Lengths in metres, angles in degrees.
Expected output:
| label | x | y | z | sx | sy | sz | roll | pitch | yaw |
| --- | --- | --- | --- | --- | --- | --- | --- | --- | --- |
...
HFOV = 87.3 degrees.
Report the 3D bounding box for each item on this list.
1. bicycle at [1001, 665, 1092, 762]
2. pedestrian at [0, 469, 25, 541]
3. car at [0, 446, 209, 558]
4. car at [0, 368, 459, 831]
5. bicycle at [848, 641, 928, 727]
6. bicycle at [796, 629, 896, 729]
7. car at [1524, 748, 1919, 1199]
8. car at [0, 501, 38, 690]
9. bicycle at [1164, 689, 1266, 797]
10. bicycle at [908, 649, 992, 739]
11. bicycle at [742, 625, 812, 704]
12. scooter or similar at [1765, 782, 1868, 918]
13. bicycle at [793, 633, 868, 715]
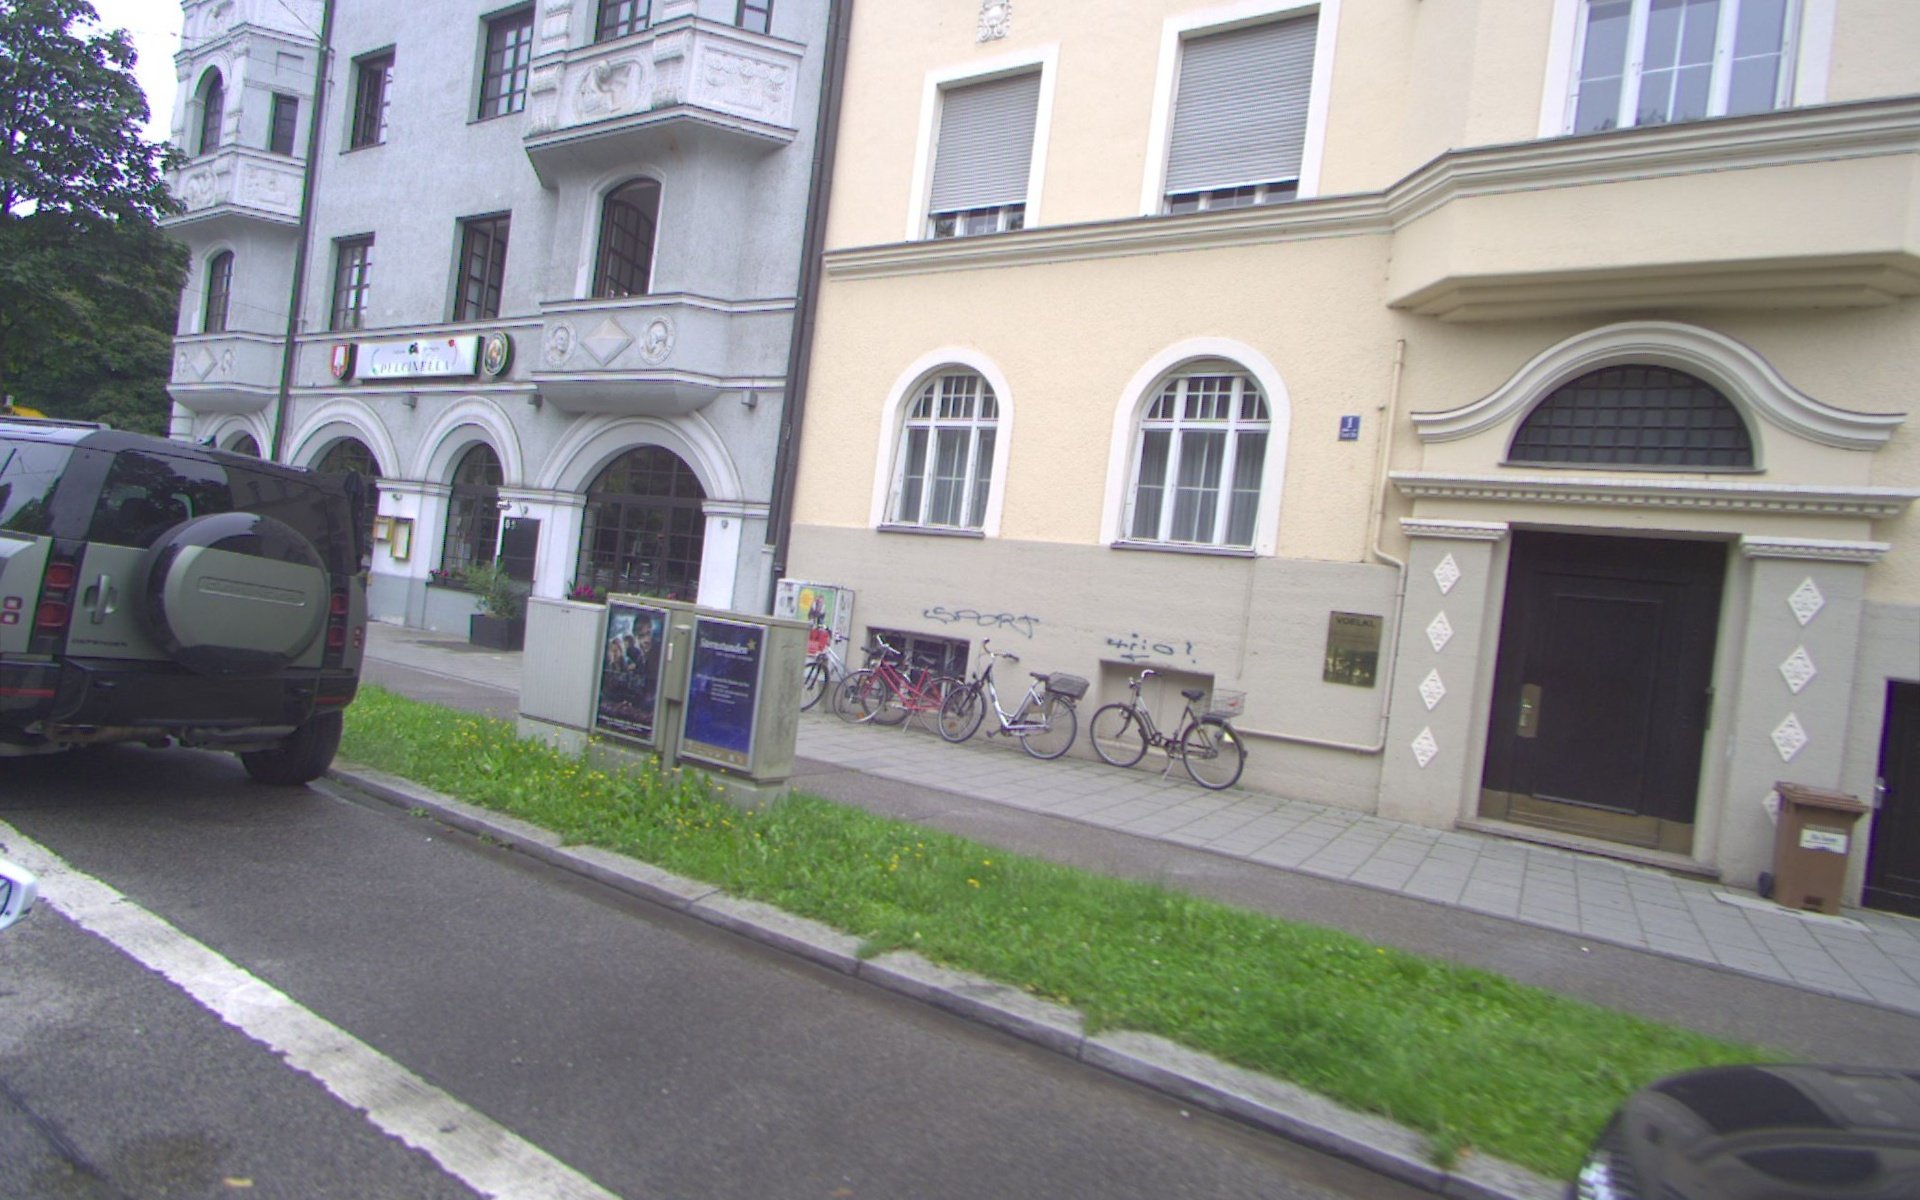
| label | x | y | z | sx | sy | sz | roll | pitch | yaw |
| --- | --- | --- | --- | --- | --- | --- | --- | --- | --- |
| bicycle | 0.955 | 1.252 | 11.170 | 0.871 | 0.941 | 0.286 | 6 | -2 | 33 |
| pedestrian | -28.329 | -2.825 | 29.592 | 0.767 | 2.036 | 0.832 | 7 | -2 | 32 |
| car | -28.841 | -3.189 | 33.633 | 2.192 | 2.641 | 5.311 | 7 | -3 | 29 |
| car | -5.525 | -0.125 | 6.141 | 4.726 | 1.927 | 1.919 | 6 | -2 | 30 |
| bicycle | -0.898 | 1.037 | 12.468 | 0.871 | 0.941 | 0.306 | 6 | -2 | 34 |
| bicycle | -1.407 | 0.957 | 12.326 | 1.203 | 1.051 | 0.242 | 6 | -2 | 32 |
| car | 3.064 | 1.230 | 0.784 | 4.525 | 1.442 | 1.720 | 6 | -3 | 31 |
| car | -10.381 | -0.311 | 9.156 | 4.256 | 1.609 | 1.718 | 6 | -3 | 32 |
| bicycle | 2.583 | 1.438 | 10.214 | 0.871 | 0.941 | 0.222 | 7 | -2 | 31 |
| bicycle | -0.122 | 1.111 | 11.913 | 0.871 | 0.941 | 0.273 | 6 | -2 | 33 |
| bicycle | -2.456 | 0.854 | 13.479 | 0.871 | 0.941 | 0.259 | 6 | -2 | 33 |
| scooter or similar | 6.583 | 1.910 | 7.744 | 0.413 | 0.921 | 0.348 | 7 | -2 | 11 |
| bicycle | -1.679 | 0.954 | 12.994 | 0.871 | 0.941 | 0.291 | 6 | -2 | 33 |
